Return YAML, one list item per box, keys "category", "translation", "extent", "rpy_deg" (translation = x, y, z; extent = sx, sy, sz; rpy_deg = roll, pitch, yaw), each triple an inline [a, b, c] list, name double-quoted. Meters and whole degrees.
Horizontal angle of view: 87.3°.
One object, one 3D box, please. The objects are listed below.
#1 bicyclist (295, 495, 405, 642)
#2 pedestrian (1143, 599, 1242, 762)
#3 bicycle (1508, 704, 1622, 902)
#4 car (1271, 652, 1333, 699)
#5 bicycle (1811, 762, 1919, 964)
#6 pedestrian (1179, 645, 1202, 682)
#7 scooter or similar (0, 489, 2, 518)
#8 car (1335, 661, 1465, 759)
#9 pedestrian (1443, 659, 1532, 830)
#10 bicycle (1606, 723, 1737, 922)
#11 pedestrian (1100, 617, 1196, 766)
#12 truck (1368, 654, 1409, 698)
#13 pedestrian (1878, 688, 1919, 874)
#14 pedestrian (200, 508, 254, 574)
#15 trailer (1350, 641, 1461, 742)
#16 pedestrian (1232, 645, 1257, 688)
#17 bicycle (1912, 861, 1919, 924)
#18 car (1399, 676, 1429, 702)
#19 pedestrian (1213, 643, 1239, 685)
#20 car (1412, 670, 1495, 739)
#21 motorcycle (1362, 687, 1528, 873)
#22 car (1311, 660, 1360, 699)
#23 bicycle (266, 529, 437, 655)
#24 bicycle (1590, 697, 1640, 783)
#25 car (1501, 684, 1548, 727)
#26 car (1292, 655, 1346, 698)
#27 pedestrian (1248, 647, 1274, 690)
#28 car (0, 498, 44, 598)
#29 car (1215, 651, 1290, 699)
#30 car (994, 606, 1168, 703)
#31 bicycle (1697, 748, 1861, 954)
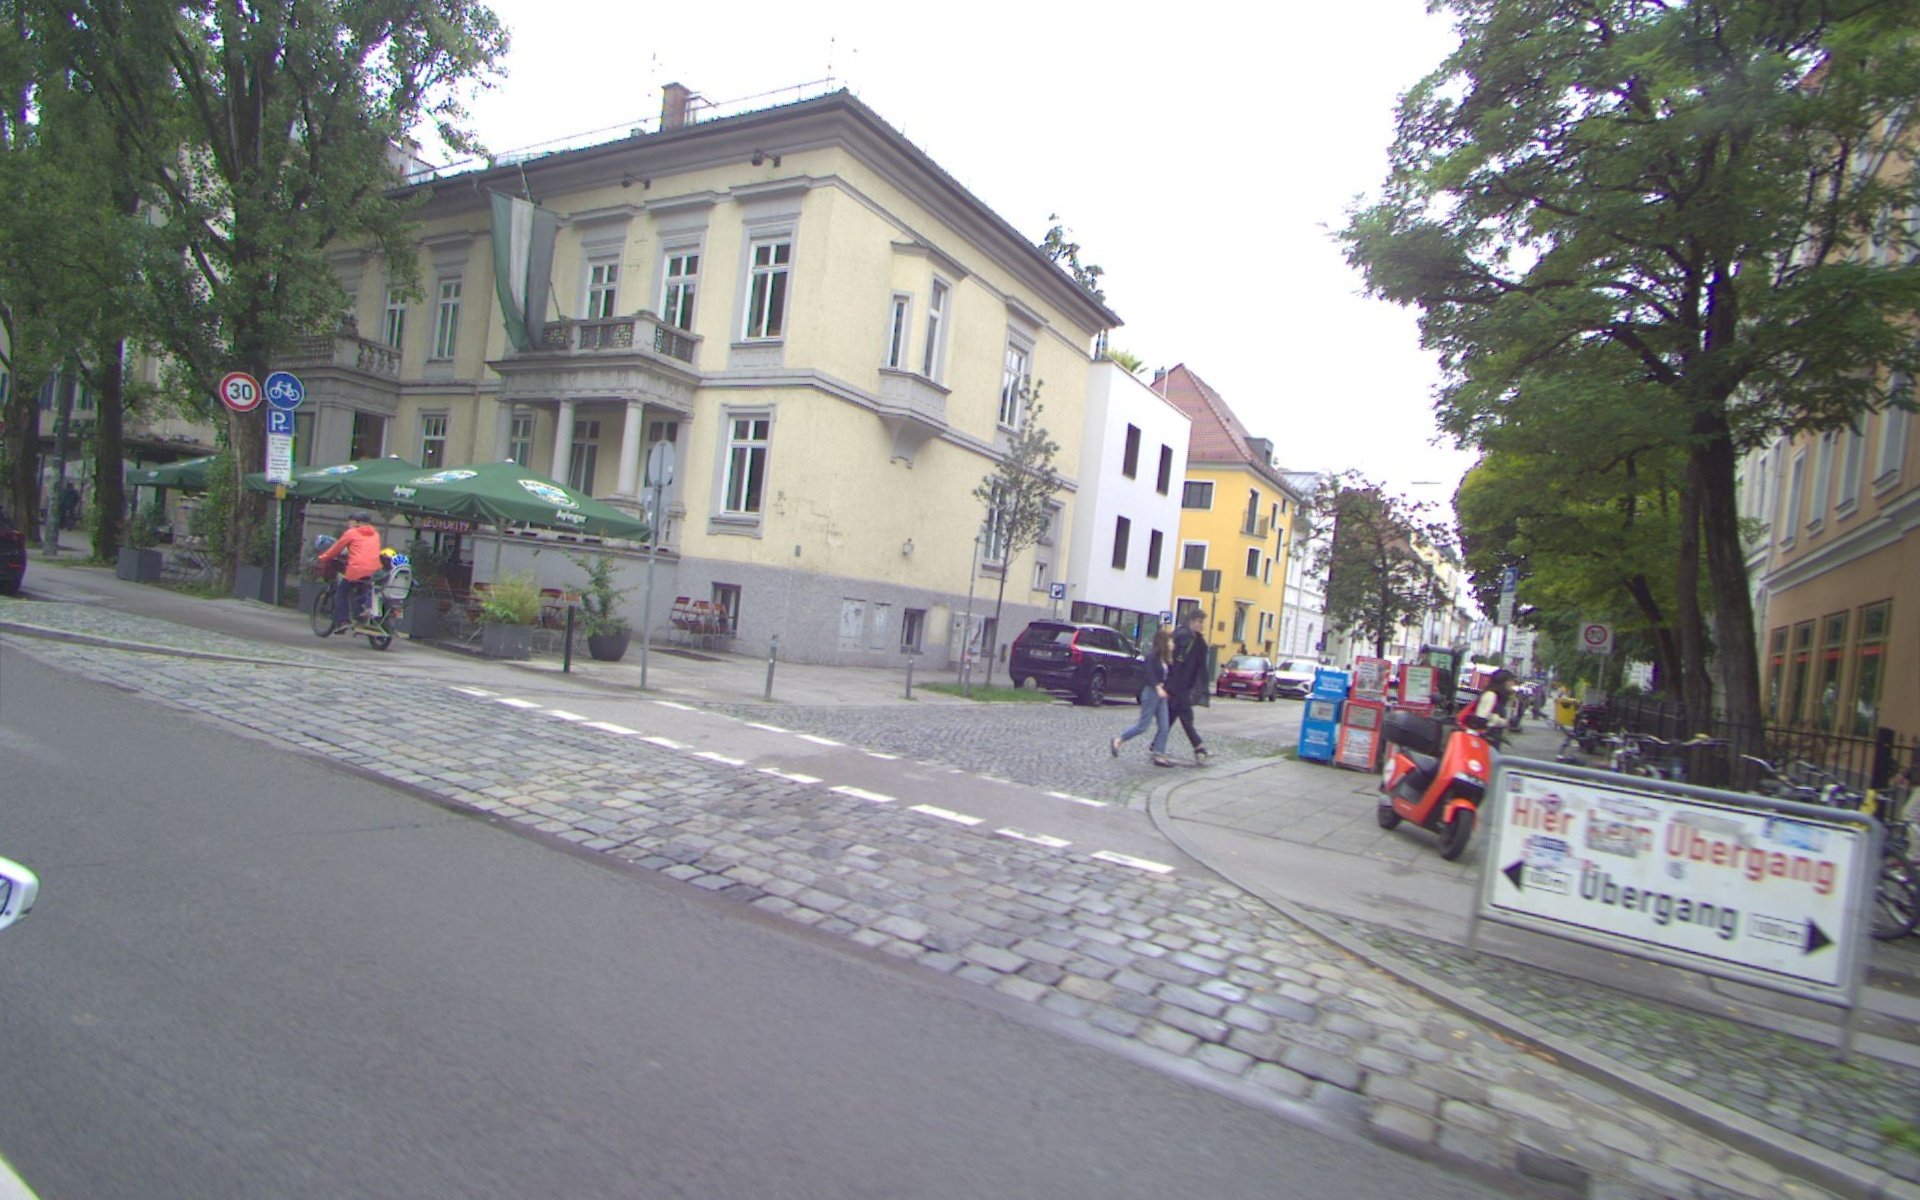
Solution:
- category: "bicyclist"
  translation: [-7.977, -0.400, 13.166]
  extent: [0.870, 1.788, 0.768]
  rpy_deg: [7, 1, 31]
- category: "pedestrian"
  translation: [3.025, 1.049, 13.077]
  extent: [0.789, 1.971, 0.838]
  rpy_deg: [6, -1, 34]
- category: "bicycle"
  translation: [4.714, 1.485, 7.845]
  extent: [0.551, 1.254, 1.943]
  rpy_deg: [7, 0, 32]
- category: "car"
  translation: [14.391, 3.200, 42.236]
  extent: [1.672, 1.706, 3.997]
  rpy_deg: [7, -2, 28]
- category: "bicycle"
  translation: [6.474, 1.762, 6.922]
  extent: [0.551, 1.089, 1.943]
  rpy_deg: [7, 0, 32]
- category: "pedestrian"
  translation: [9.489, 2.607, 41.437]
  extent: [0.590, 1.426, 0.800]
  rpy_deg: [7, -1, 28]
- category: "scooter or similar"
  translation: [-32.682, -3.087, 33.277]
  extent: [2.451, 1.394, 0.637]
  rpy_deg: [8, 3, 28]
- category: "car"
  translation: [8.961, 2.201, 20.282]
  extent: [1.874, 1.537, 3.997]
  rpy_deg: [6, -2, 30]
- category: "pedestrian"
  translation: [5.344, 1.447, 10.232]
  extent: [0.603, 1.589, 0.746]
  rpy_deg: [7, -1, 25]
- category: "bicycle"
  translation: [5.233, 1.561, 7.489]
  extent: [0.551, 1.151, 1.943]
  rpy_deg: [7, 0, 32]
- category: "pedestrian"
  translation: [2.305, 1.109, 12.281]
  extent: [0.758, 1.680, 0.745]
  rpy_deg: [7, -1, 31]
- category: "truck"
  translation: [27.474, 4.913, 64.503]
  extent: [1.845, 2.499, 3.997]
  rpy_deg: [7, -1, 28]
- category: "pedestrian"
  translation: [9.743, 1.820, 9.956]
  extent: [0.720, 1.786, 0.698]
  rpy_deg: [6, -1, 34]
- category: "pedestrian"
  translation: [-20.347, -1.633, 27.918]
  extent: [0.862, 1.698, 0.798]
  rpy_deg: [7, 1, 31]
- category: "trailer"
  translation: [11.420, 2.326, 25.556]
  extent: [1.874, 2.052, 5.250]
  rpy_deg: [7, -1, 30]
- category: "pedestrian"
  translation: [12.874, 3.014, 45.511]
  extent: [0.752, 1.815, 0.873]
  rpy_deg: [7, 1, 26]
- category: "bicycle"
  translation: [6.971, 1.852, 6.608]
  extent: [0.551, 1.022, 1.943]
  rpy_deg: [7, 0, 32]
- category: "car"
  translation: [34.407, 6.777, 76.179]
  extent: [1.672, 1.706, 3.997]
  rpy_deg: [7, -2, 28]
- category: "pedestrian"
  translation: [12.036, 2.899, 45.497]
  extent: [0.752, 1.815, 0.873]
  rpy_deg: [7, 1, 26]
- category: "car"
  translation: [15.024, 3.165, 30.634]
  extent: [1.965, 1.703, 3.999]
  rpy_deg: [7, -2, 27]
- category: "motorcycle"
  translation: [4.075, 1.454, 8.629]
  extent: [0.505, 1.236, 1.961]
  rpy_deg: [7, 0, 6]
- category: "car"
  translation: [19.077, 4.060, 51.030]
  extent: [1.672, 1.706, 3.997]
  rpy_deg: [7, -2, 28]
- category: "bicycle"
  translation: [-7.987, -0.126, 13.158]
  extent: [2.408, 1.366, 0.773]
  rpy_deg: [7, 0, 31]
- category: "bicycle"
  translation: [11.807, 2.500, 18.175]
  extent: [0.551, 1.388, 1.944]
  rpy_deg: [7, -1, 32]
- category: "car"
  translation: [30.722, 5.747, 54.693]
  extent: [1.966, 2.036, 3.996]
  rpy_deg: [6, -2, 31]
- category: "car"
  translation: [16.783, 3.597, 46.944]
  extent: [1.672, 1.706, 3.997]
  rpy_deg: [7, -2, 28]
- category: "pedestrian"
  translation: [13.492, 3.079, 45.065]
  extent: [0.752, 1.815, 0.873]
  rpy_deg: [7, 1, 26]
- category: "car"
  translation: [-16.072, -1.011, 15.497]
  extent: [3.884, 1.434, 1.697]
  rpy_deg: [7, 0, 30]
- category: "car"
  translation: [10.531, 2.704, 36.014]
  extent: [1.672, 1.416, 3.997]
  rpy_deg: [6, -2, 28]
- category: "car"
  translation: [2.868, 1.305, 22.953]
  extent: [1.940, 1.721, 4.420]
  rpy_deg: [6, -2, 35]
- category: "bicycle"
  translation: [5.818, 1.707, 7.244]
  extent: [0.551, 1.102, 1.943]
  rpy_deg: [7, 0, 32]
